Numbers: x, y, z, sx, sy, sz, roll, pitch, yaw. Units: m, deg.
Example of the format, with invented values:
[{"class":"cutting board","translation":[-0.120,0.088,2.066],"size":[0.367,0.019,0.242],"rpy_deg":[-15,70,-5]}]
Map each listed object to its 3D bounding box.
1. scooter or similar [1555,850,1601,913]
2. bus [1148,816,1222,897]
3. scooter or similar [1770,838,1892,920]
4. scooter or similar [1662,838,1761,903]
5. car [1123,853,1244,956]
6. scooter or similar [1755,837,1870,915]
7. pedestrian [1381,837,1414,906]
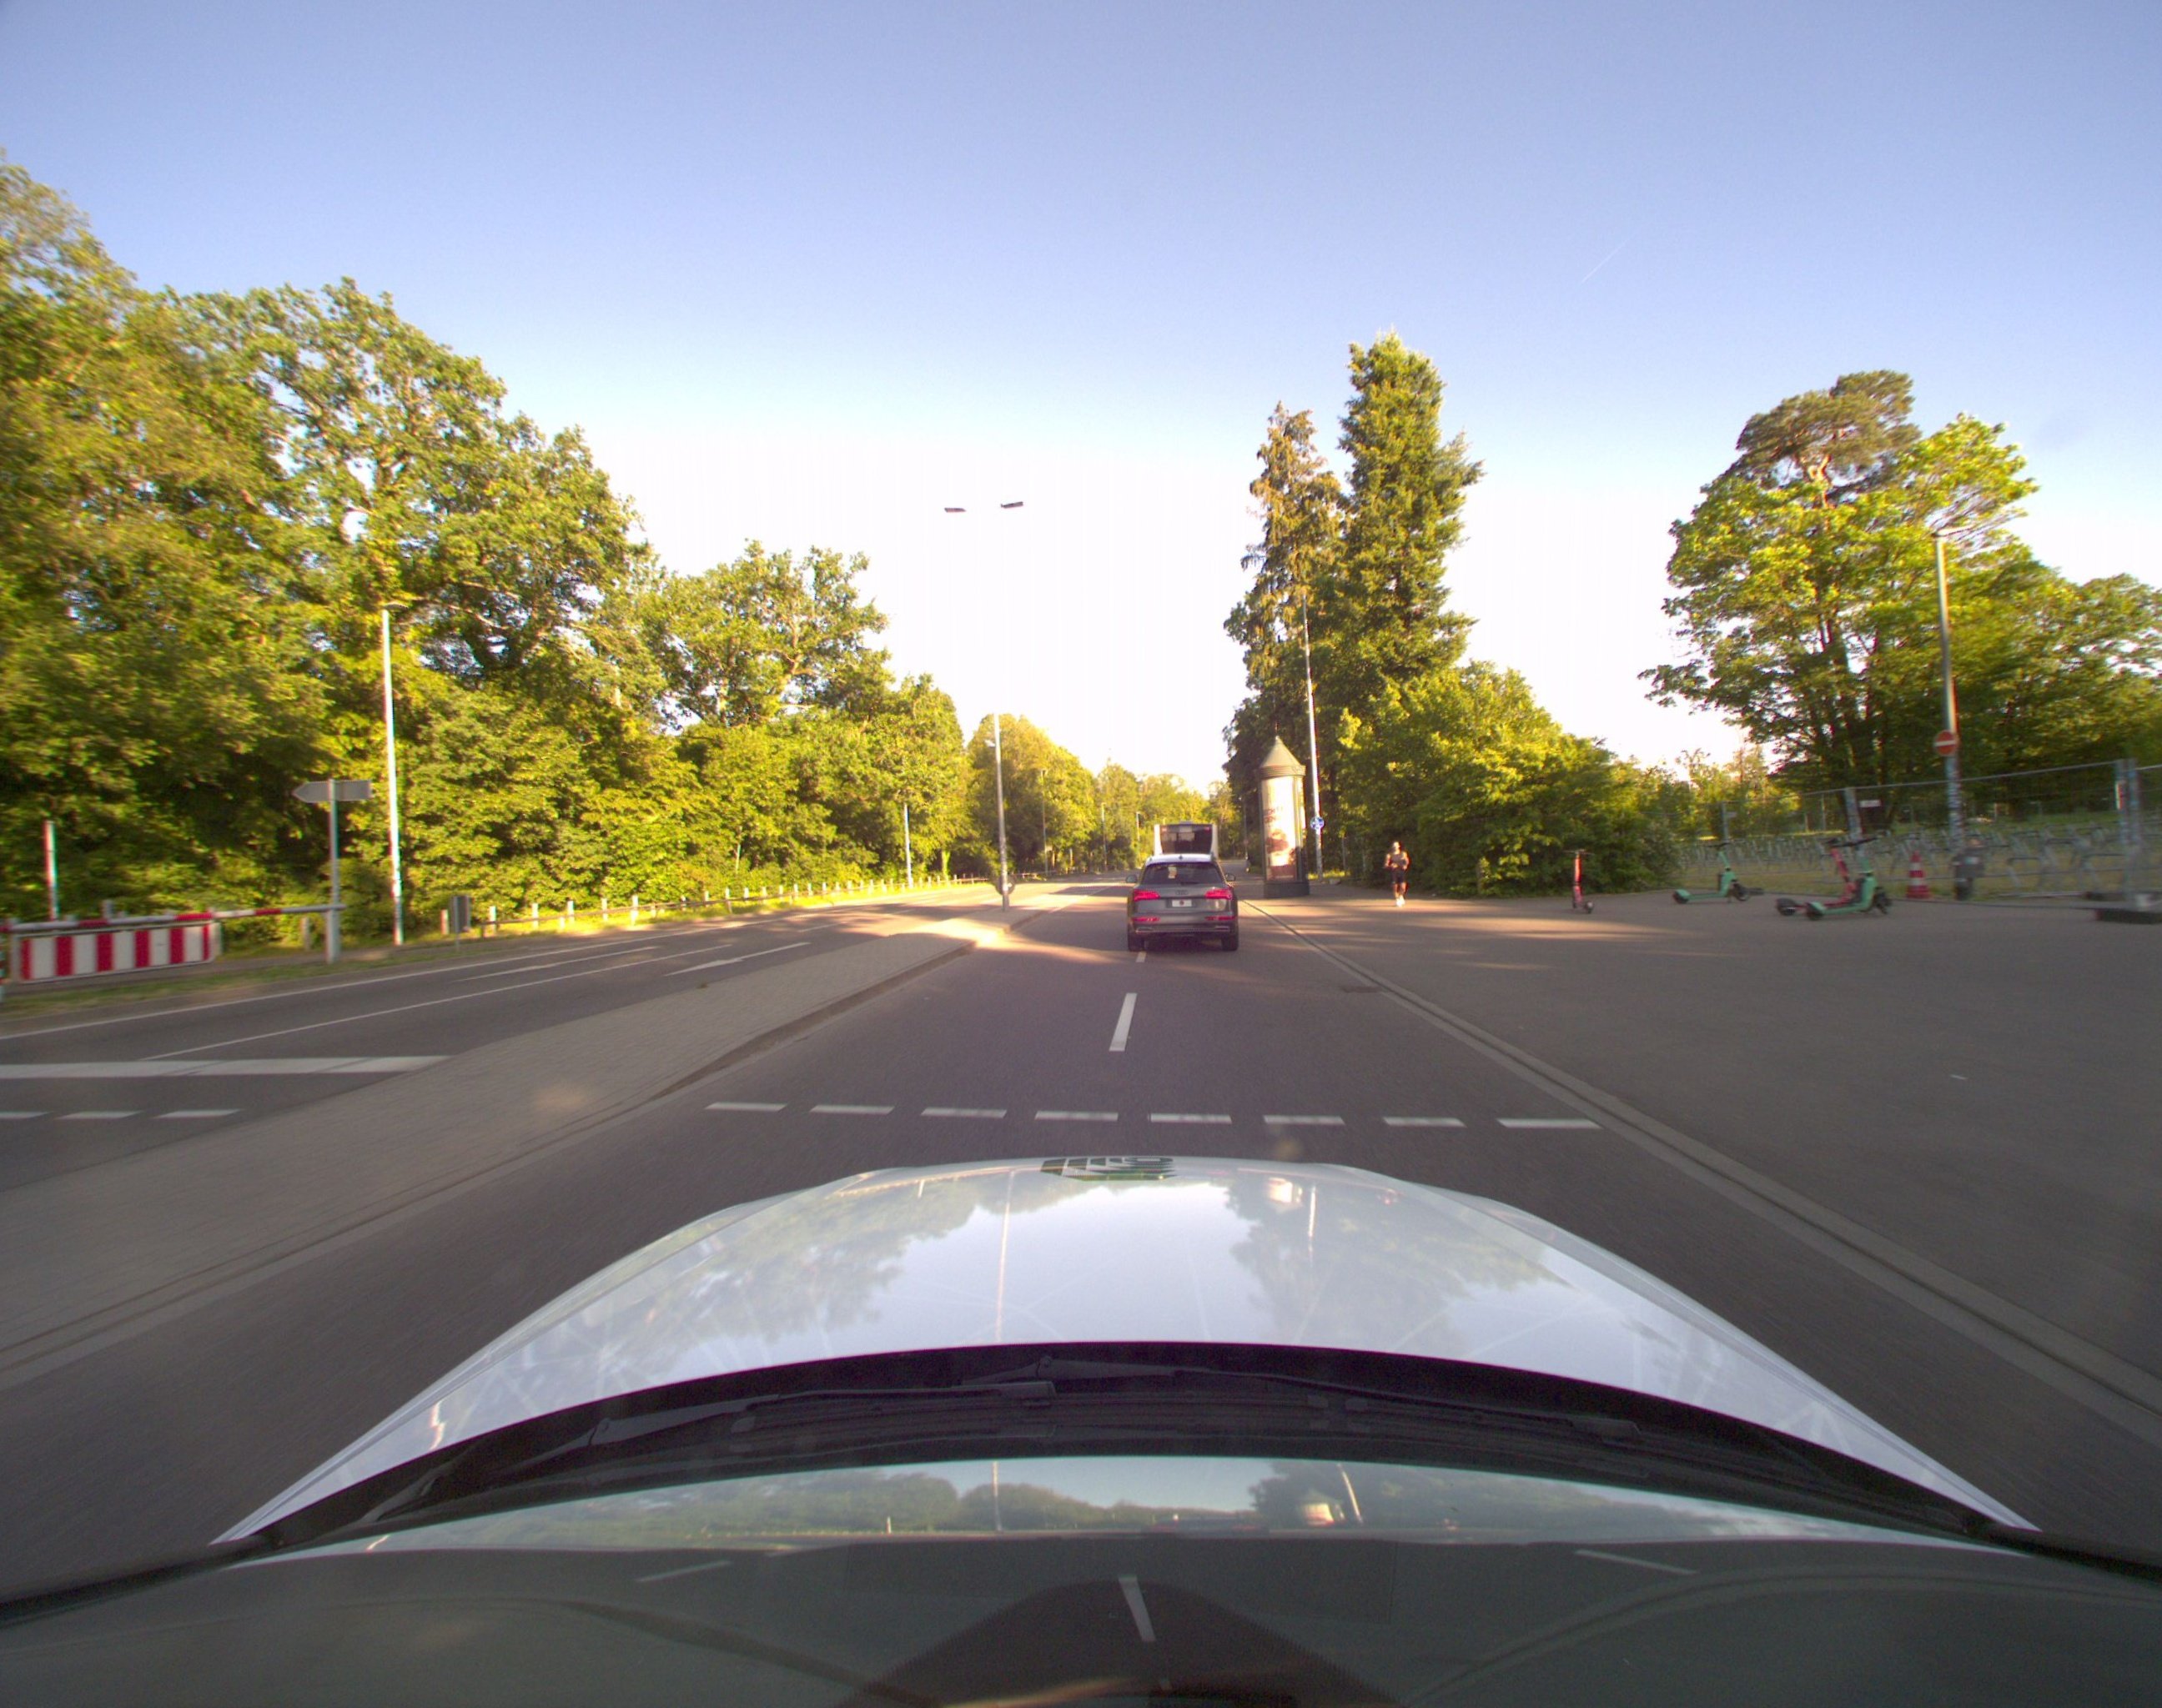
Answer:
[{"class":"scooter or similar","translation":[9.809,0.523,16.096],"size":[0.279,1.171,1.414],"rpy_deg":[-4,0,14]},{"class":"bus","translation":[4.506,0.173,37.437],"size":[2.677,3.043,12.054],"rpy_deg":[-2,-1,4]},{"class":"scooter or similar","translation":[11.448,0.385,12.452],"size":[1.257,1.147,0.395],"rpy_deg":[-5,-3,12]},{"class":"scooter or similar","translation":[12.282,0.338,15.912],"size":[1.424,1.167,0.396],"rpy_deg":[-5,-3,34]},{"class":"car","translation":[1.803,0.826,15.267],"size":[1.884,1.605,4.549],"rpy_deg":[-1,0,4]},{"class":"scooter or similar","translation":[11.704,0.362,13.069],"size":[1.232,1.167,0.396],"rpy_deg":[-4,-2,29]},{"class":"pedestrian","translation":[7.937,0.429,20.456],"size":[0.621,1.688,0.886],"rpy_deg":[-2,-1,14]}]
